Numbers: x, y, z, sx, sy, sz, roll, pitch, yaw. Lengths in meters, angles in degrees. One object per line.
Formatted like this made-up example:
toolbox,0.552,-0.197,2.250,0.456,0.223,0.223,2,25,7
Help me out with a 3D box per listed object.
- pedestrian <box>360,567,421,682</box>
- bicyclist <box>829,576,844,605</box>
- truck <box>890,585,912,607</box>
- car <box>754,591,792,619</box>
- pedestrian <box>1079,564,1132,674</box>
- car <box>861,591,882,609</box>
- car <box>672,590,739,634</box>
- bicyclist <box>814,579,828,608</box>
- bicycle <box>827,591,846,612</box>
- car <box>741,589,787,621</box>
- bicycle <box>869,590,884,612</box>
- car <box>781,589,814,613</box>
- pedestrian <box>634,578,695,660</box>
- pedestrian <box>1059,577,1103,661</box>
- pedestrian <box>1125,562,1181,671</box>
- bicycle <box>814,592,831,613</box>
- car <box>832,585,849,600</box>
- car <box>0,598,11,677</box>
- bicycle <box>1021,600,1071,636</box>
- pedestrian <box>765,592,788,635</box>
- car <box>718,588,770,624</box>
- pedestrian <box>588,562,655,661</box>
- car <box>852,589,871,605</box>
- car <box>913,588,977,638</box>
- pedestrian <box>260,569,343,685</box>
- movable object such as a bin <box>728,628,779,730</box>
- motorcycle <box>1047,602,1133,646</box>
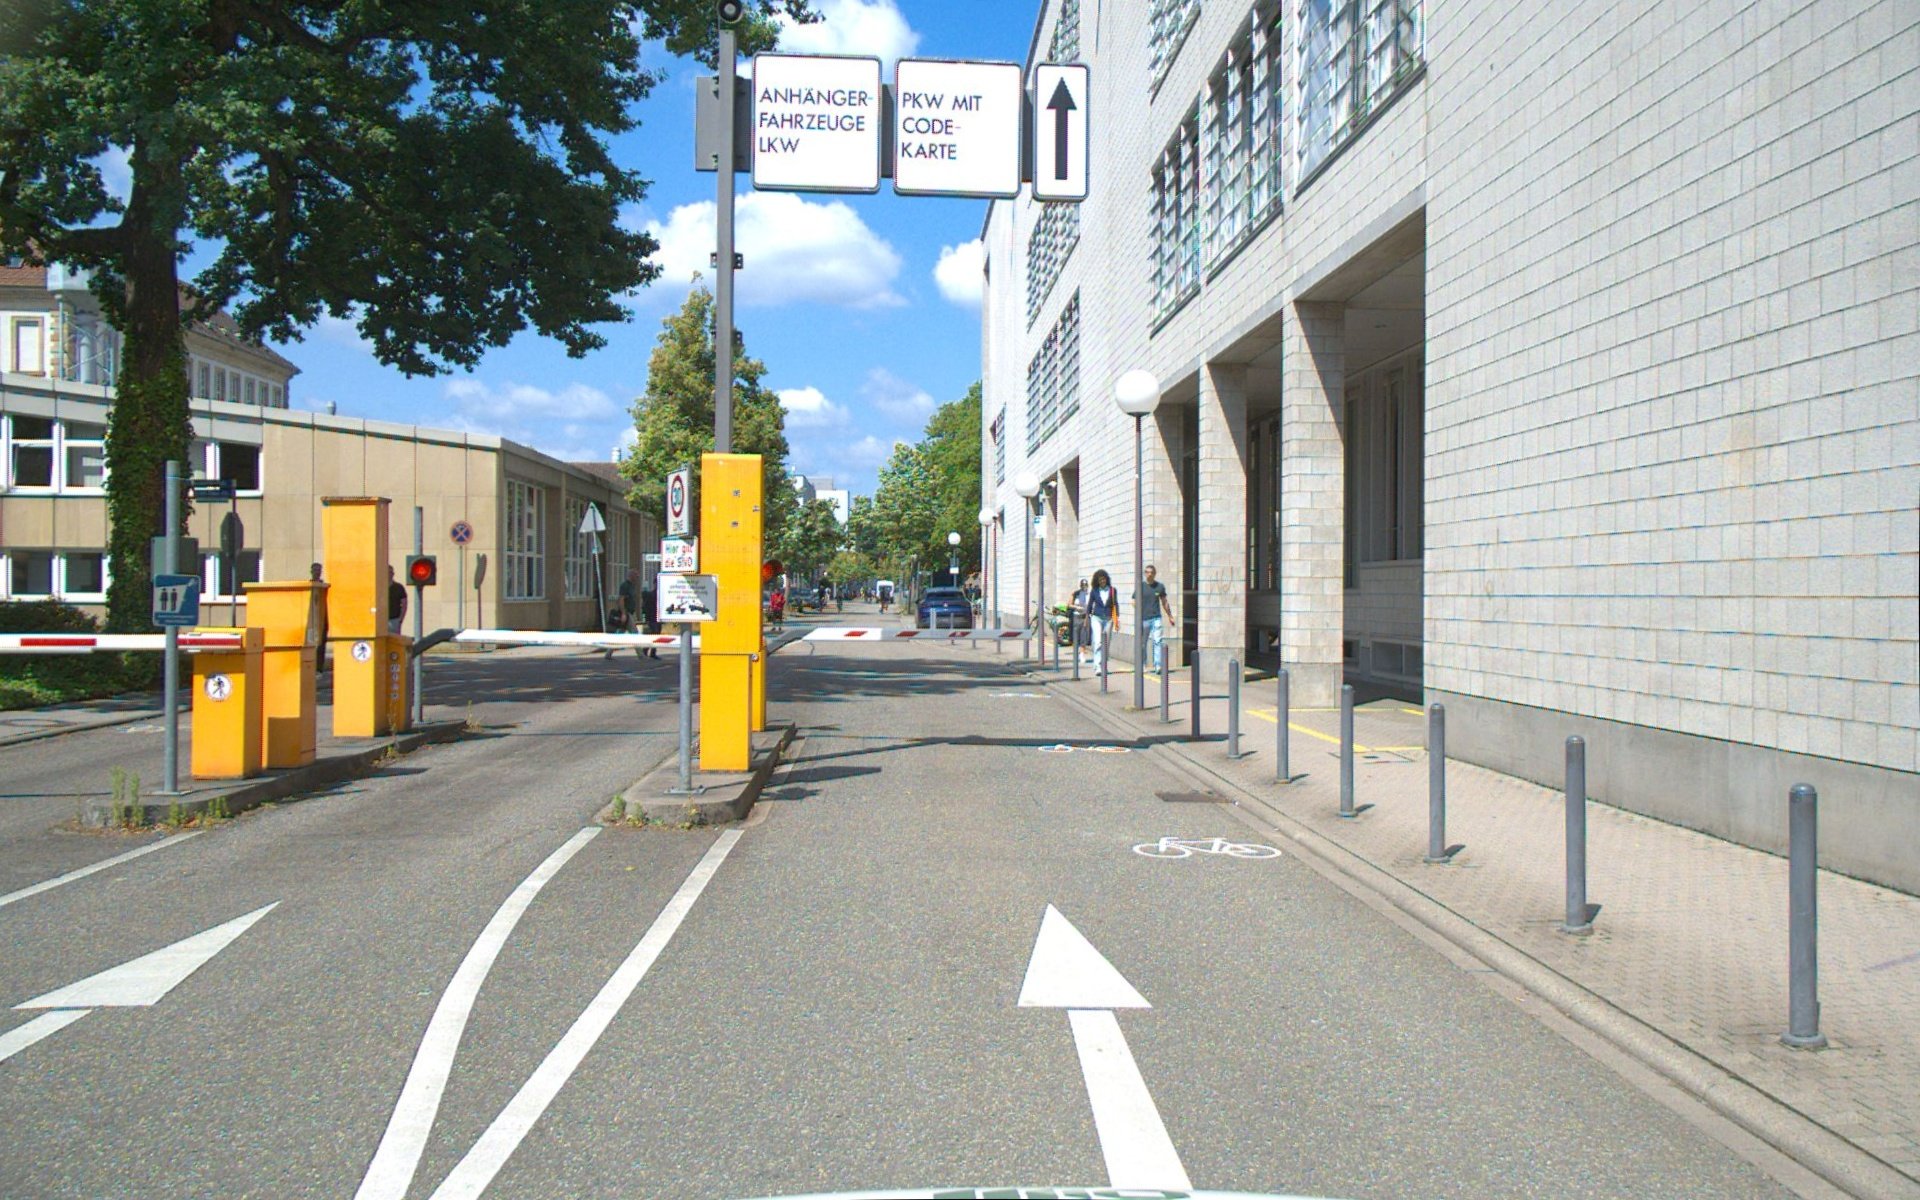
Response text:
pedestrian,-9.258,0.381,26.913,0.691,1.841,1.001,0,1,-4
bicyclist,-8.320,-0.634,111.586,0.969,1.917,1.034,0,-2,-9
truck,-5.702,-0.378,158.970,1.954,2.049,3.996,0,-2,-4
car,-11.138,0.283,98.855,1.953,1.573,4.210,0,0,-2
pedestrian,2.472,0.305,28.186,0.681,1.811,1.085,-2,1,-4
car,-9.221,0.012,171.853,1.953,1.750,3.999,0,-2,0
car,-9.368,0.415,61.200,1.953,1.573,4.210,0,0,-2
bicyclist,-9.415,-0.449,111.912,0.968,1.917,1.035,0,-2,-5
bicycle,-8.339,0.093,111.367,0.969,1.339,2.957,0,-2,-10
car,-9.818,0.240,83.168,1.953,1.573,4.210,0,0,-2
bicycle,-5.583,0.077,110.229,0.967,1.339,2.962,0,-2,-3
car,-10.938,0.086,111.271,1.953,1.573,4.210,0,0,-2
pedestrian,-6.117,0.390,34.214,0.890,1.661,0.873,1,-1,-44
pedestrian,2.456,0.366,33.588,0.726,1.661,0.887,-2,1,-4
pedestrian,3.285,0.272,28.249,0.752,1.811,0.910,-2,1,-4
bicycle,-9.284,0.199,111.420,0.968,1.339,2.959,0,-2,-7
car,-15.580,-0.968,215.782,1.953,1.750,3.999,0,-2,0
car,-18.916,0.717,29.429,1.793,1.492,4.296,0,0,-4
bicycle,2.688,0.555,51.530,1.511,1.085,0.648,0,0,5
pedestrian,-7.061,0.522,63.619,0.877,1.661,0.886,1,-1,-7
car,-9.688,0.250,74.377,1.953,1.573,4.210,0,0,-2
pedestrian,-6.827,0.236,33.373,0.998,1.959,0.873,1,-1,-44
car,-11.206,-0.320,188.057,1.953,1.750,3.999,0,-2,0
car,-0.534,0.387,54.413,1.953,1.573,4.210,0,0,-2
pedestrian,-10.645,0.429,26.761,1.035,1.847,0.805,0,1,-4
movable object such as a bin,-1.904,0.725,15.285,0.407,0.921,0.353,1,0,1
motorcycle,3.286,0.611,41.902,2.080,1.040,0.660,-2,-2,-2
